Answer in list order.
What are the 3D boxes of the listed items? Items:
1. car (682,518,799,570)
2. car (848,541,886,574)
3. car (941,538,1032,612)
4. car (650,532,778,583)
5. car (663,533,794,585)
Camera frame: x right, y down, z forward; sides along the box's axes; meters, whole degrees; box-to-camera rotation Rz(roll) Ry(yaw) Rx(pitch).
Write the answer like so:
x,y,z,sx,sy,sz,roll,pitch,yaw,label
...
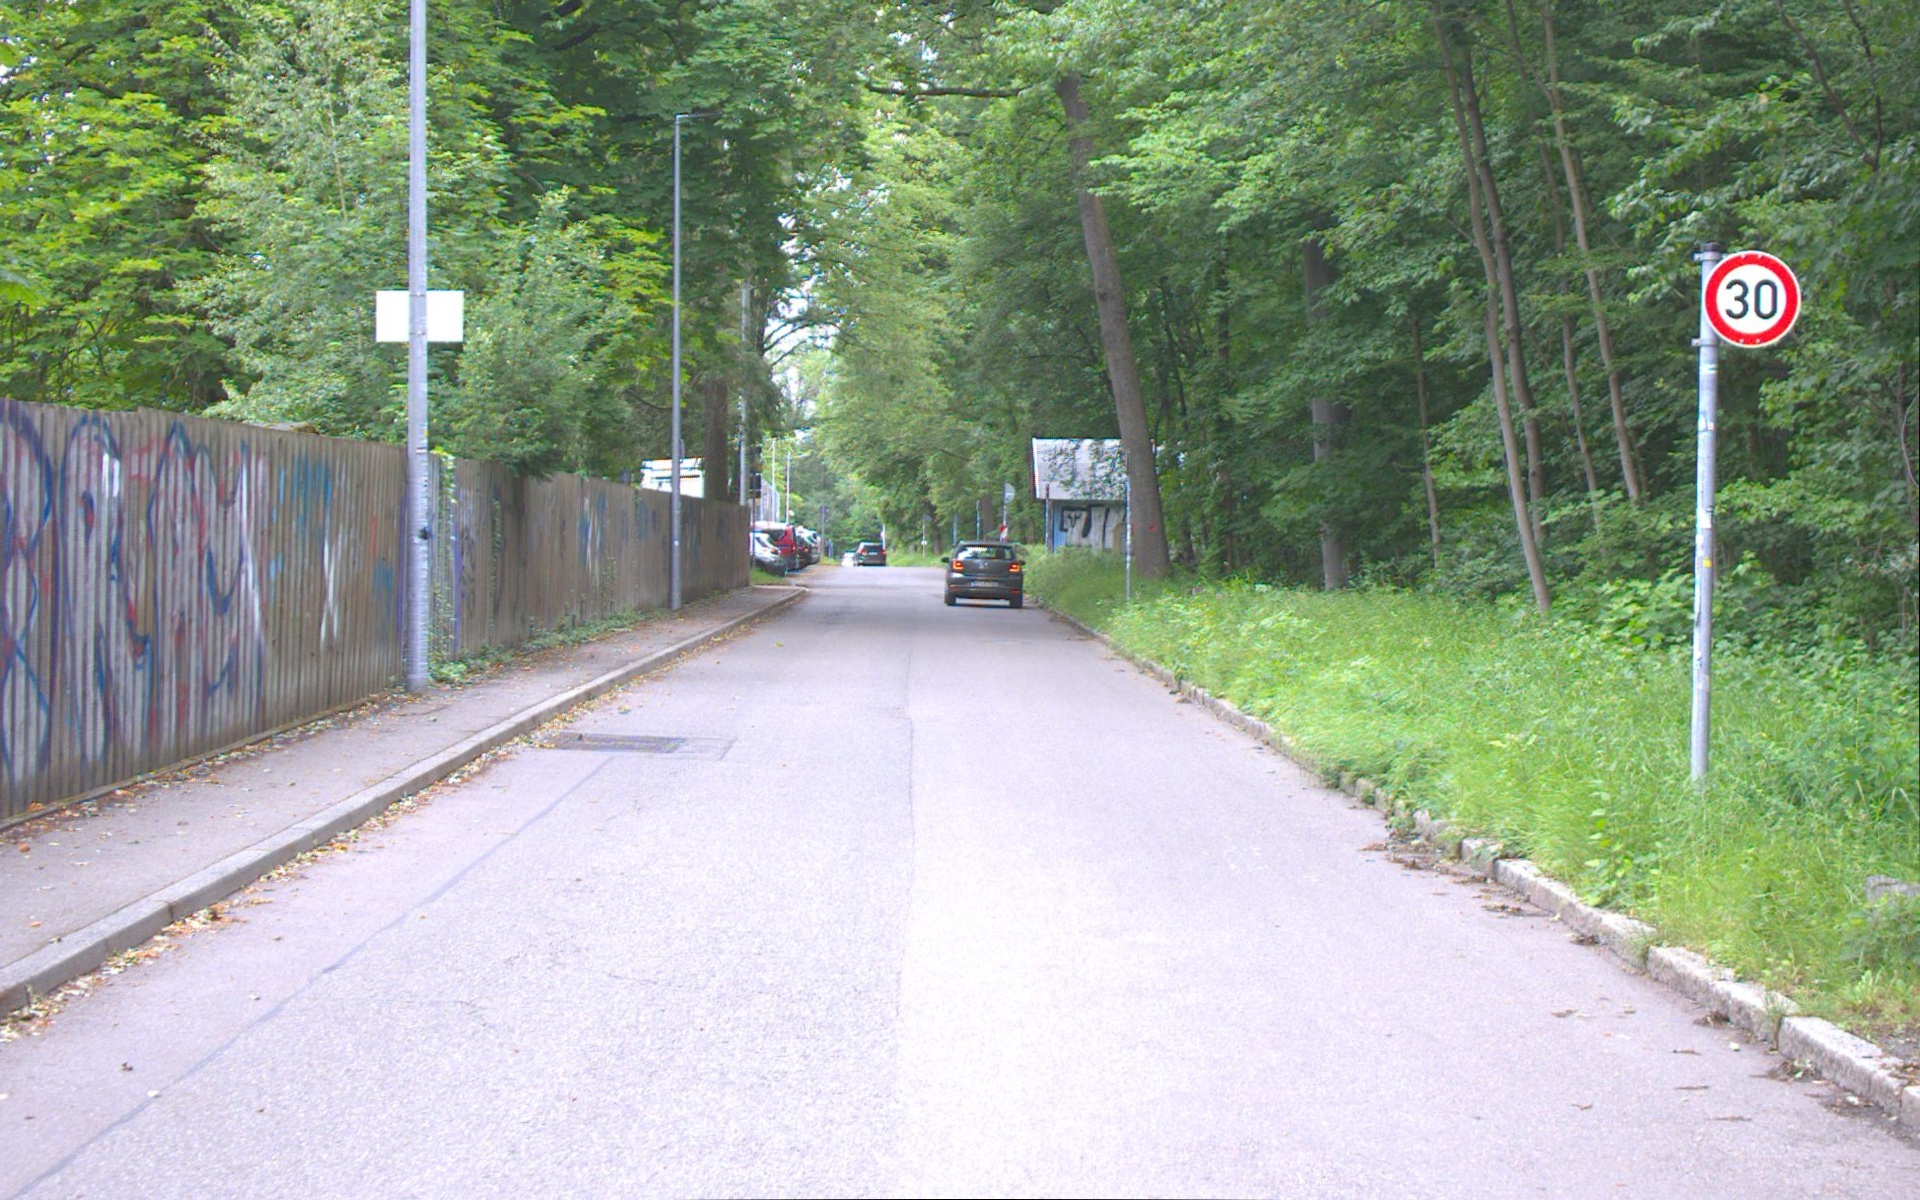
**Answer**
x,y,z,sx,sy,sz,roll,pitch,yaw,label
-7.591,-1.930,118.757,3.986,1.744,2.000,0,1,-4,car
-5.756,-2.615,211.943,1.993,2.007,4.001,0,1,-6,car
0.580,-0.547,76.058,1.908,1.503,4.000,3,0,0,car
-7.756,-1.342,108.388,3.986,1.568,2.000,0,1,-4,car
-7.144,-1.278,106.061,3.986,1.568,2.000,0,1,-4,car
